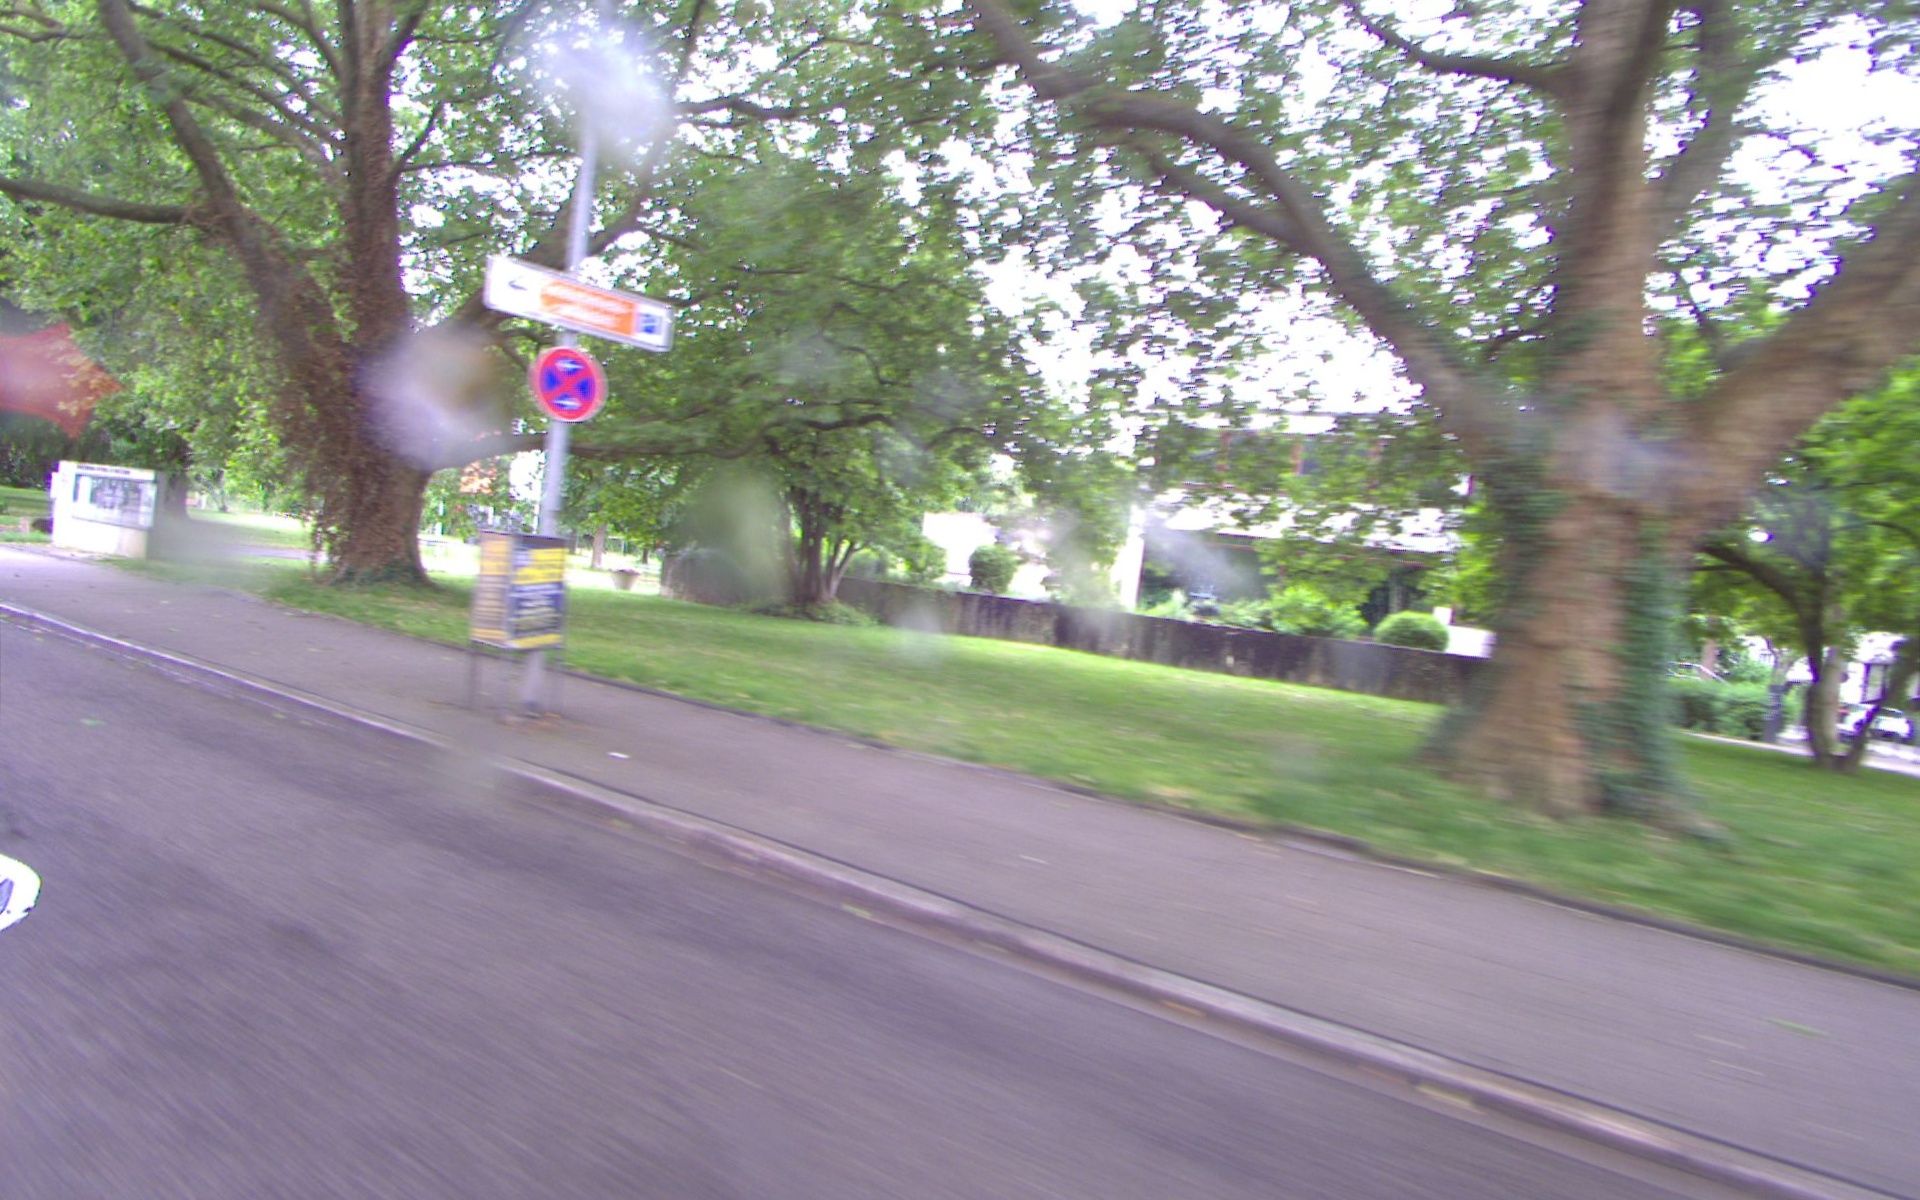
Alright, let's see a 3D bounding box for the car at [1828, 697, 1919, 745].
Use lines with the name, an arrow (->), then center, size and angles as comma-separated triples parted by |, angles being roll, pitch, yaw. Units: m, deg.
car -> 39.687, 5.217, 43.819 | 1.705, 1.591, 3.929 | 7, 1, 25
